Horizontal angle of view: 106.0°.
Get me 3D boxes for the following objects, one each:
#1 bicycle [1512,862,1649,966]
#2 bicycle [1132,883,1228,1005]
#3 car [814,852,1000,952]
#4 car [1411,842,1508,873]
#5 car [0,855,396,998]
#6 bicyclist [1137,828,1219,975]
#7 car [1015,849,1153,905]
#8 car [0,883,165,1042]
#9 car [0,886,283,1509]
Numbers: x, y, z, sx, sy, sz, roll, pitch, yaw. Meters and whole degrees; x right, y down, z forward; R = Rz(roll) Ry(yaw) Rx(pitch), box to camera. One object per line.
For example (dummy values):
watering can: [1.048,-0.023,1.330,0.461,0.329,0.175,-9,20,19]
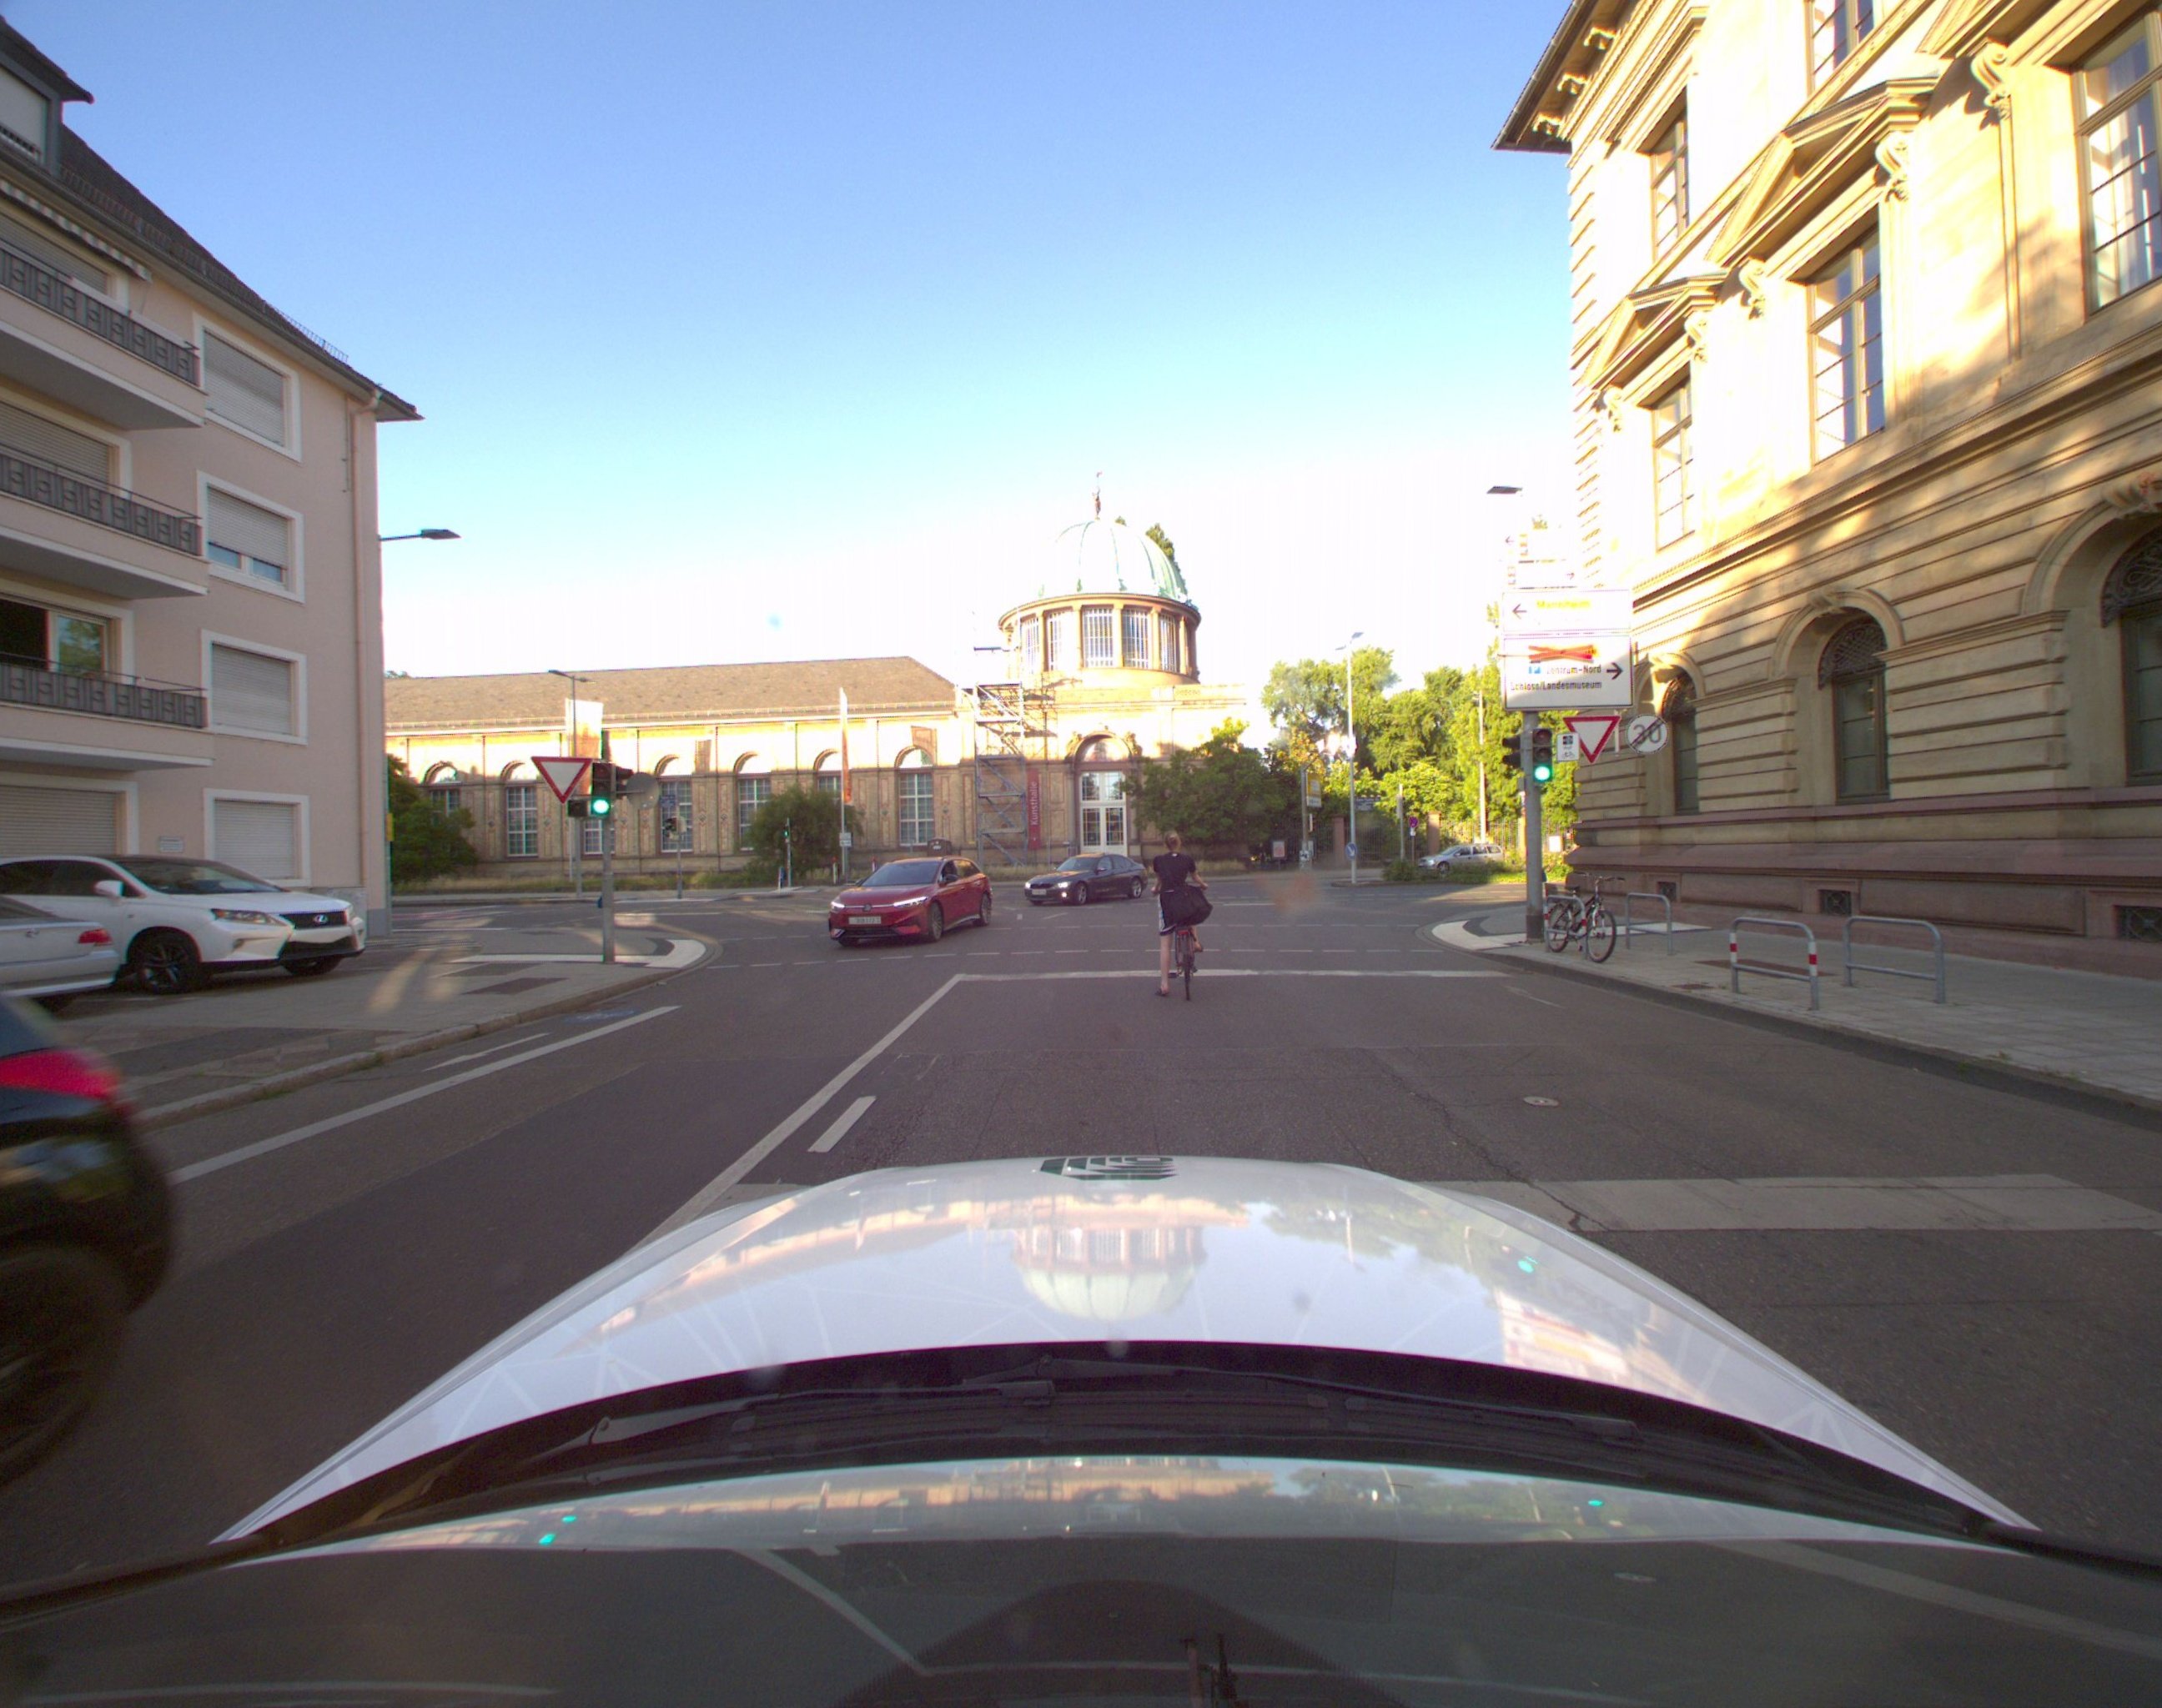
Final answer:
bicycle: [6.314,0.720,10.433,0.580,1.188,1.921,-2,-2,2]
bicycle: [1.157,0.926,9.074,0.706,1.156,2.077,-2,-2,16]
car: [-3.203,0.820,16.165,1.819,1.545,4.862,-3,1,10]
car: [19.367,0.154,41.770,4.176,1.445,1.713,-2,0,-4]
car: [-11.846,0.849,10.442,4.426,1.641,1.942,0,0,0]
bicyclist: [1.065,0.500,8.812,0.710,1.502,0.854,-2,-2,16]
car: [0.188,0.639,24.618,1.765,1.459,4.452,-3,0,38]
car: [-11.862,0.997,7.755,4.253,1.380,1.735,0,0,0]
car: [-3.524,0.908,0.728,1.651,1.471,3.856,-2,1,2]
